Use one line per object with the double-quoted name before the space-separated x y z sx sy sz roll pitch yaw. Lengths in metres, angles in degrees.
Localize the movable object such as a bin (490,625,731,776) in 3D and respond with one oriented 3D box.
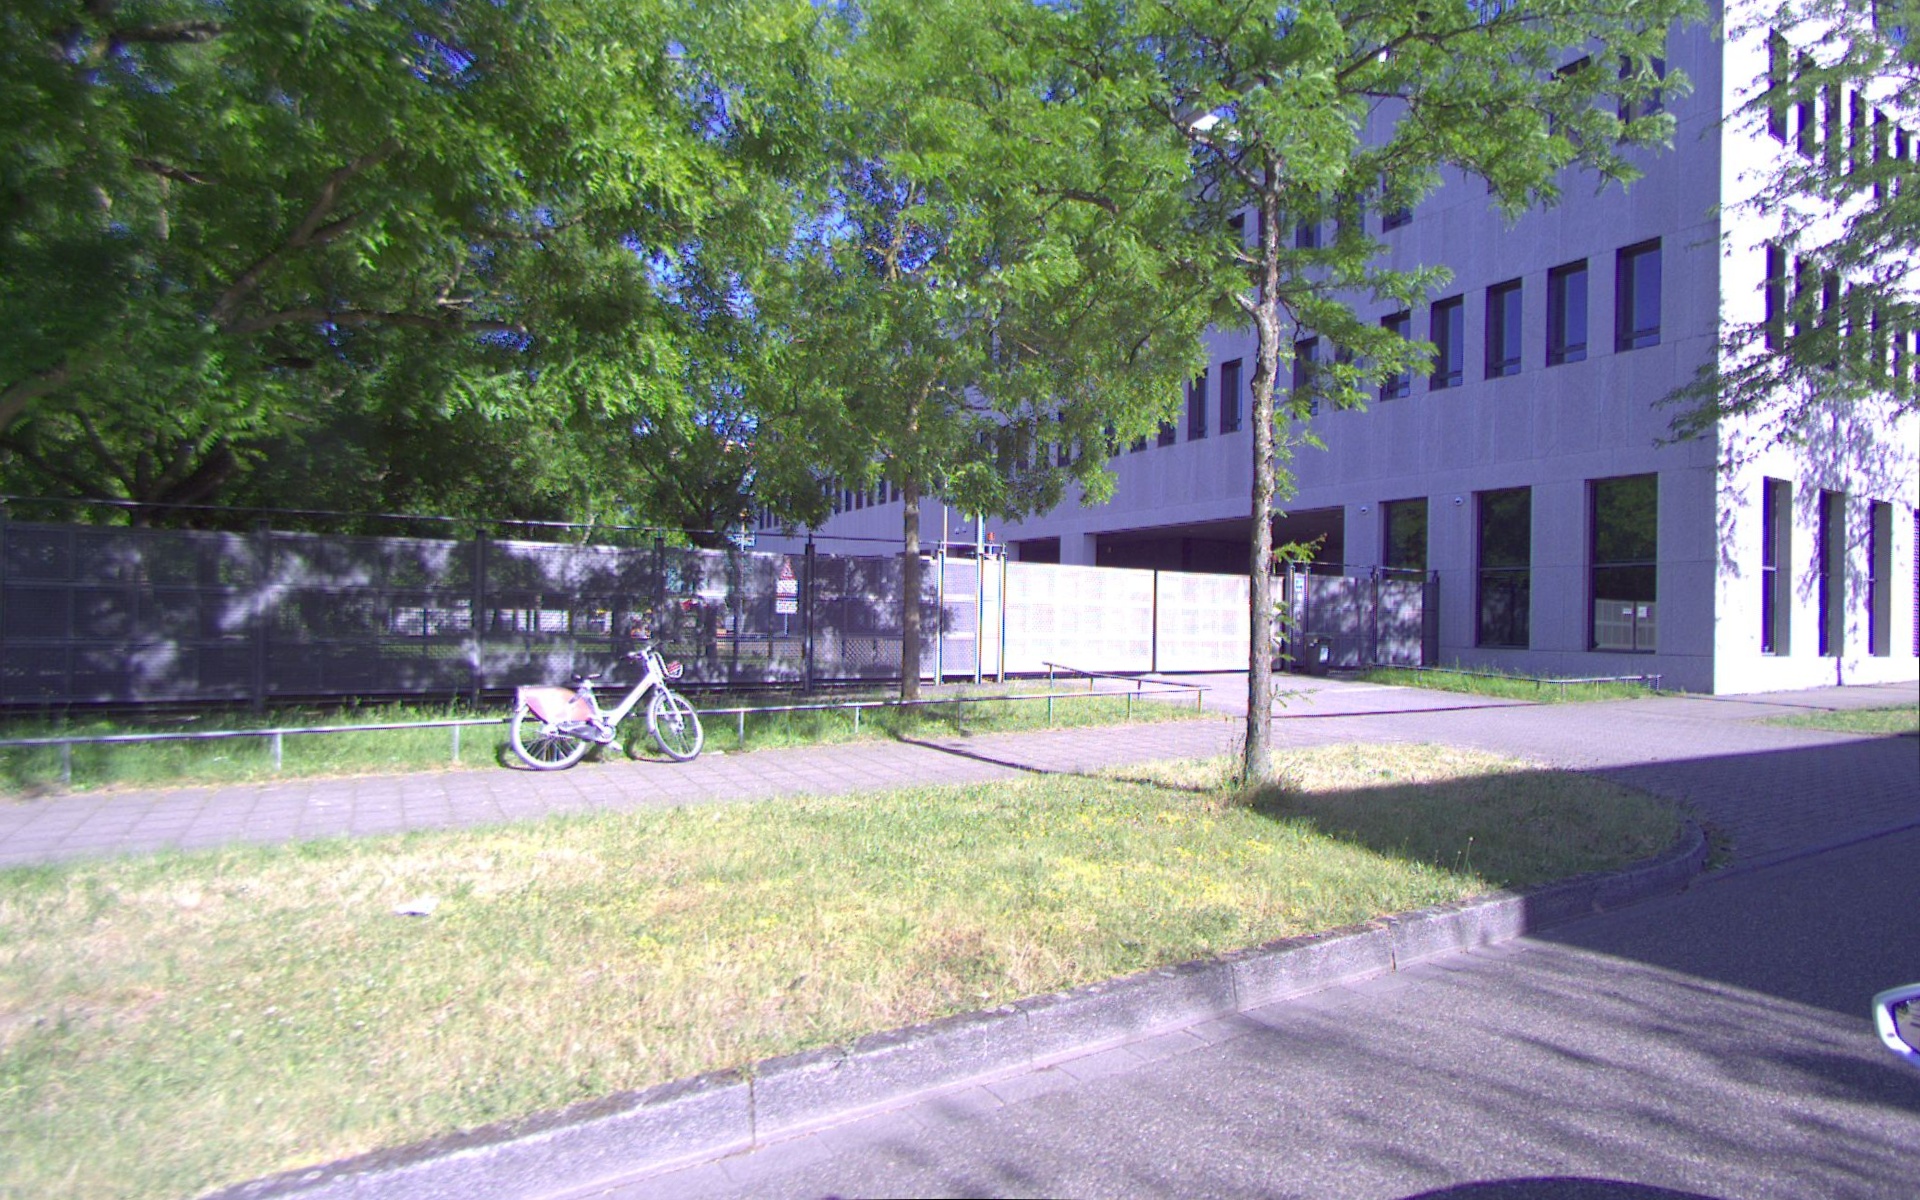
"movable object such as a bin" -3.055 0.834 8.857 1.913 1.197 0.659 1 -1 -31
